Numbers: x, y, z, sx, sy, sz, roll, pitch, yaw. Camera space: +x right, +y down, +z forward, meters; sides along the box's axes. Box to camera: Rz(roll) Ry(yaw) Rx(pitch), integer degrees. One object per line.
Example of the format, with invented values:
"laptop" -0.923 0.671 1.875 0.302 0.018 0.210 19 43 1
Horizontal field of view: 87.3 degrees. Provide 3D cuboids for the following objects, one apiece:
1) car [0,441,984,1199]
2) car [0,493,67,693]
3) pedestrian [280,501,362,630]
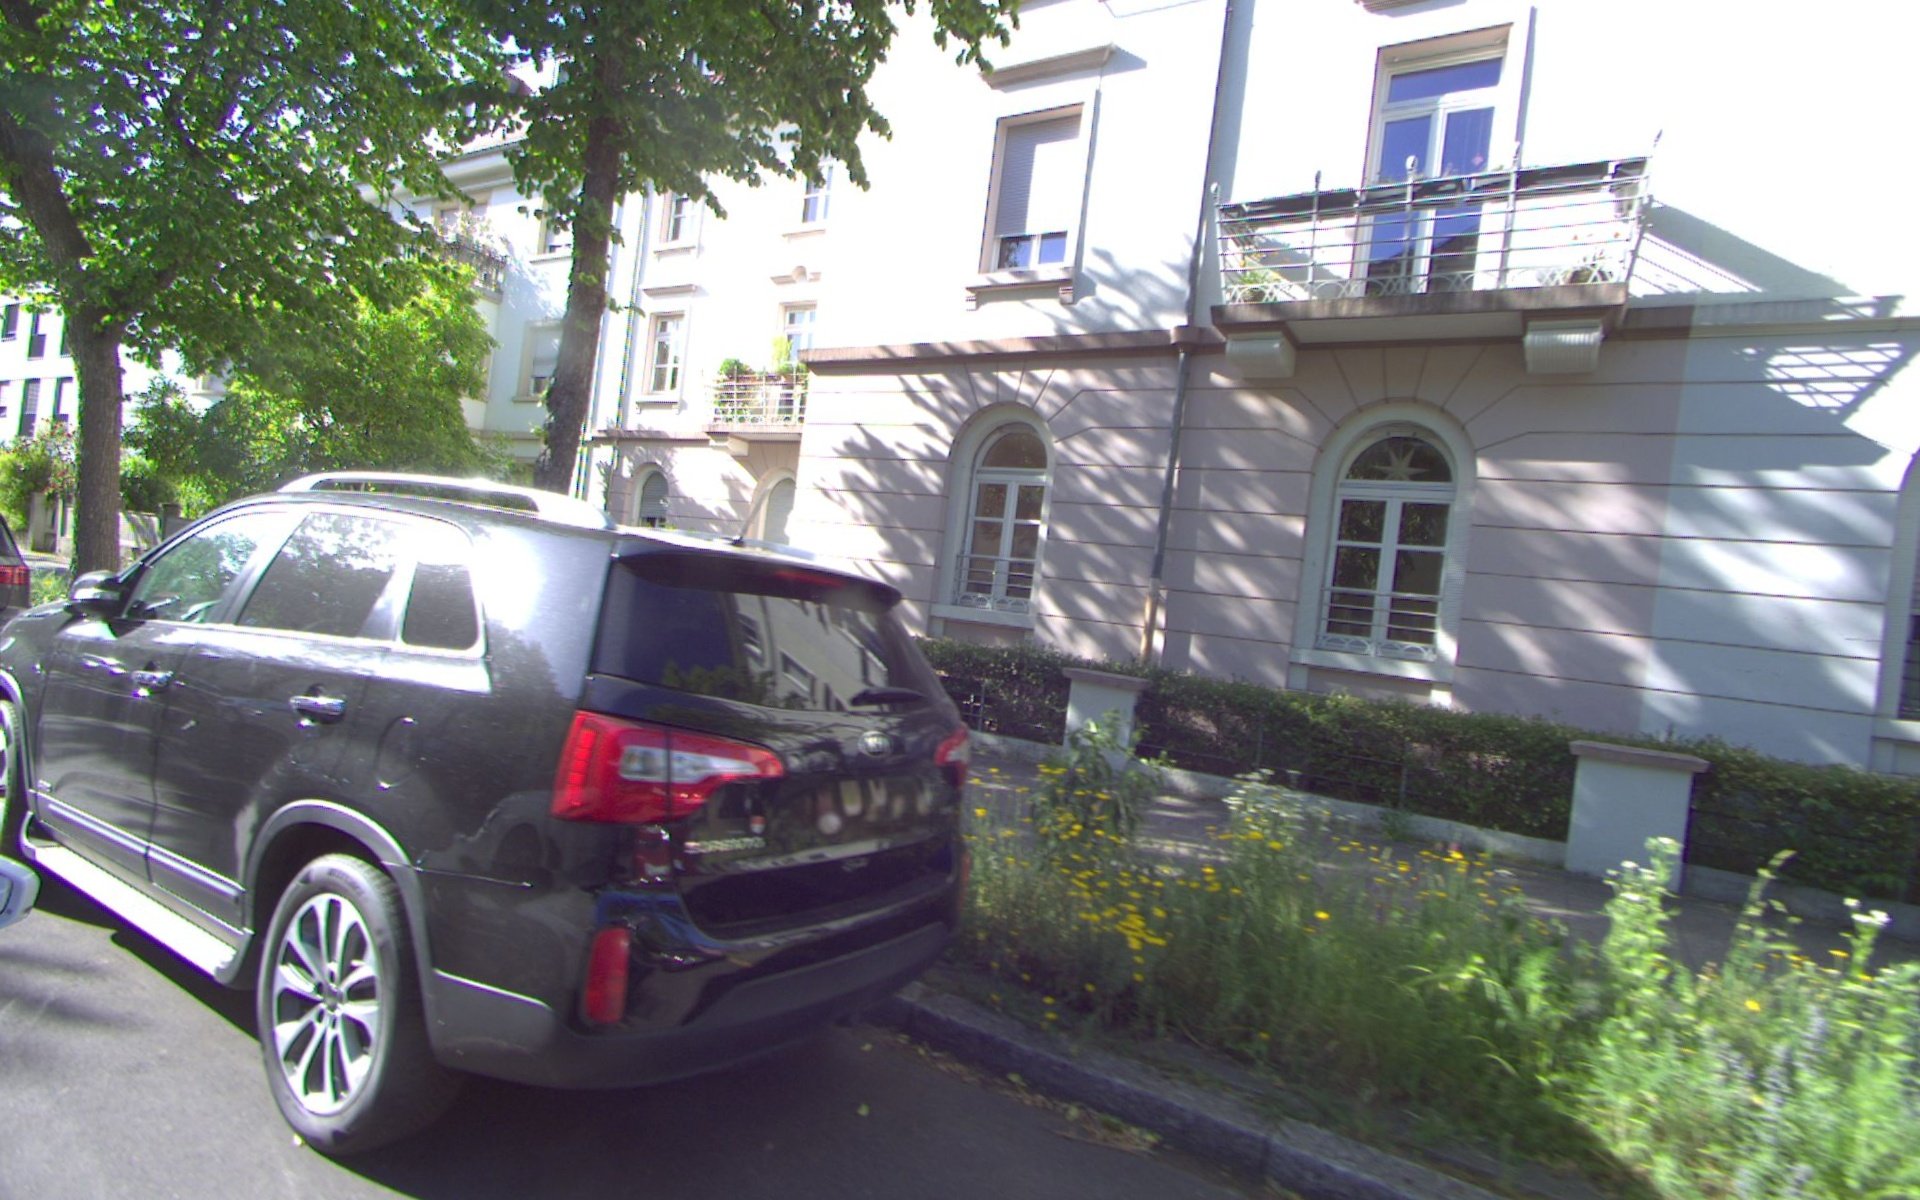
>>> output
"car" -2.251 0.430 4.001 4.226 1.719 1.783 7 0 32
"car" -9.928 -0.343 8.845 4.459 1.605 1.688 7 -3 31
"pedestrian" -9.492 -0.507 14.945 0.786 1.797 0.622 7 1 32
